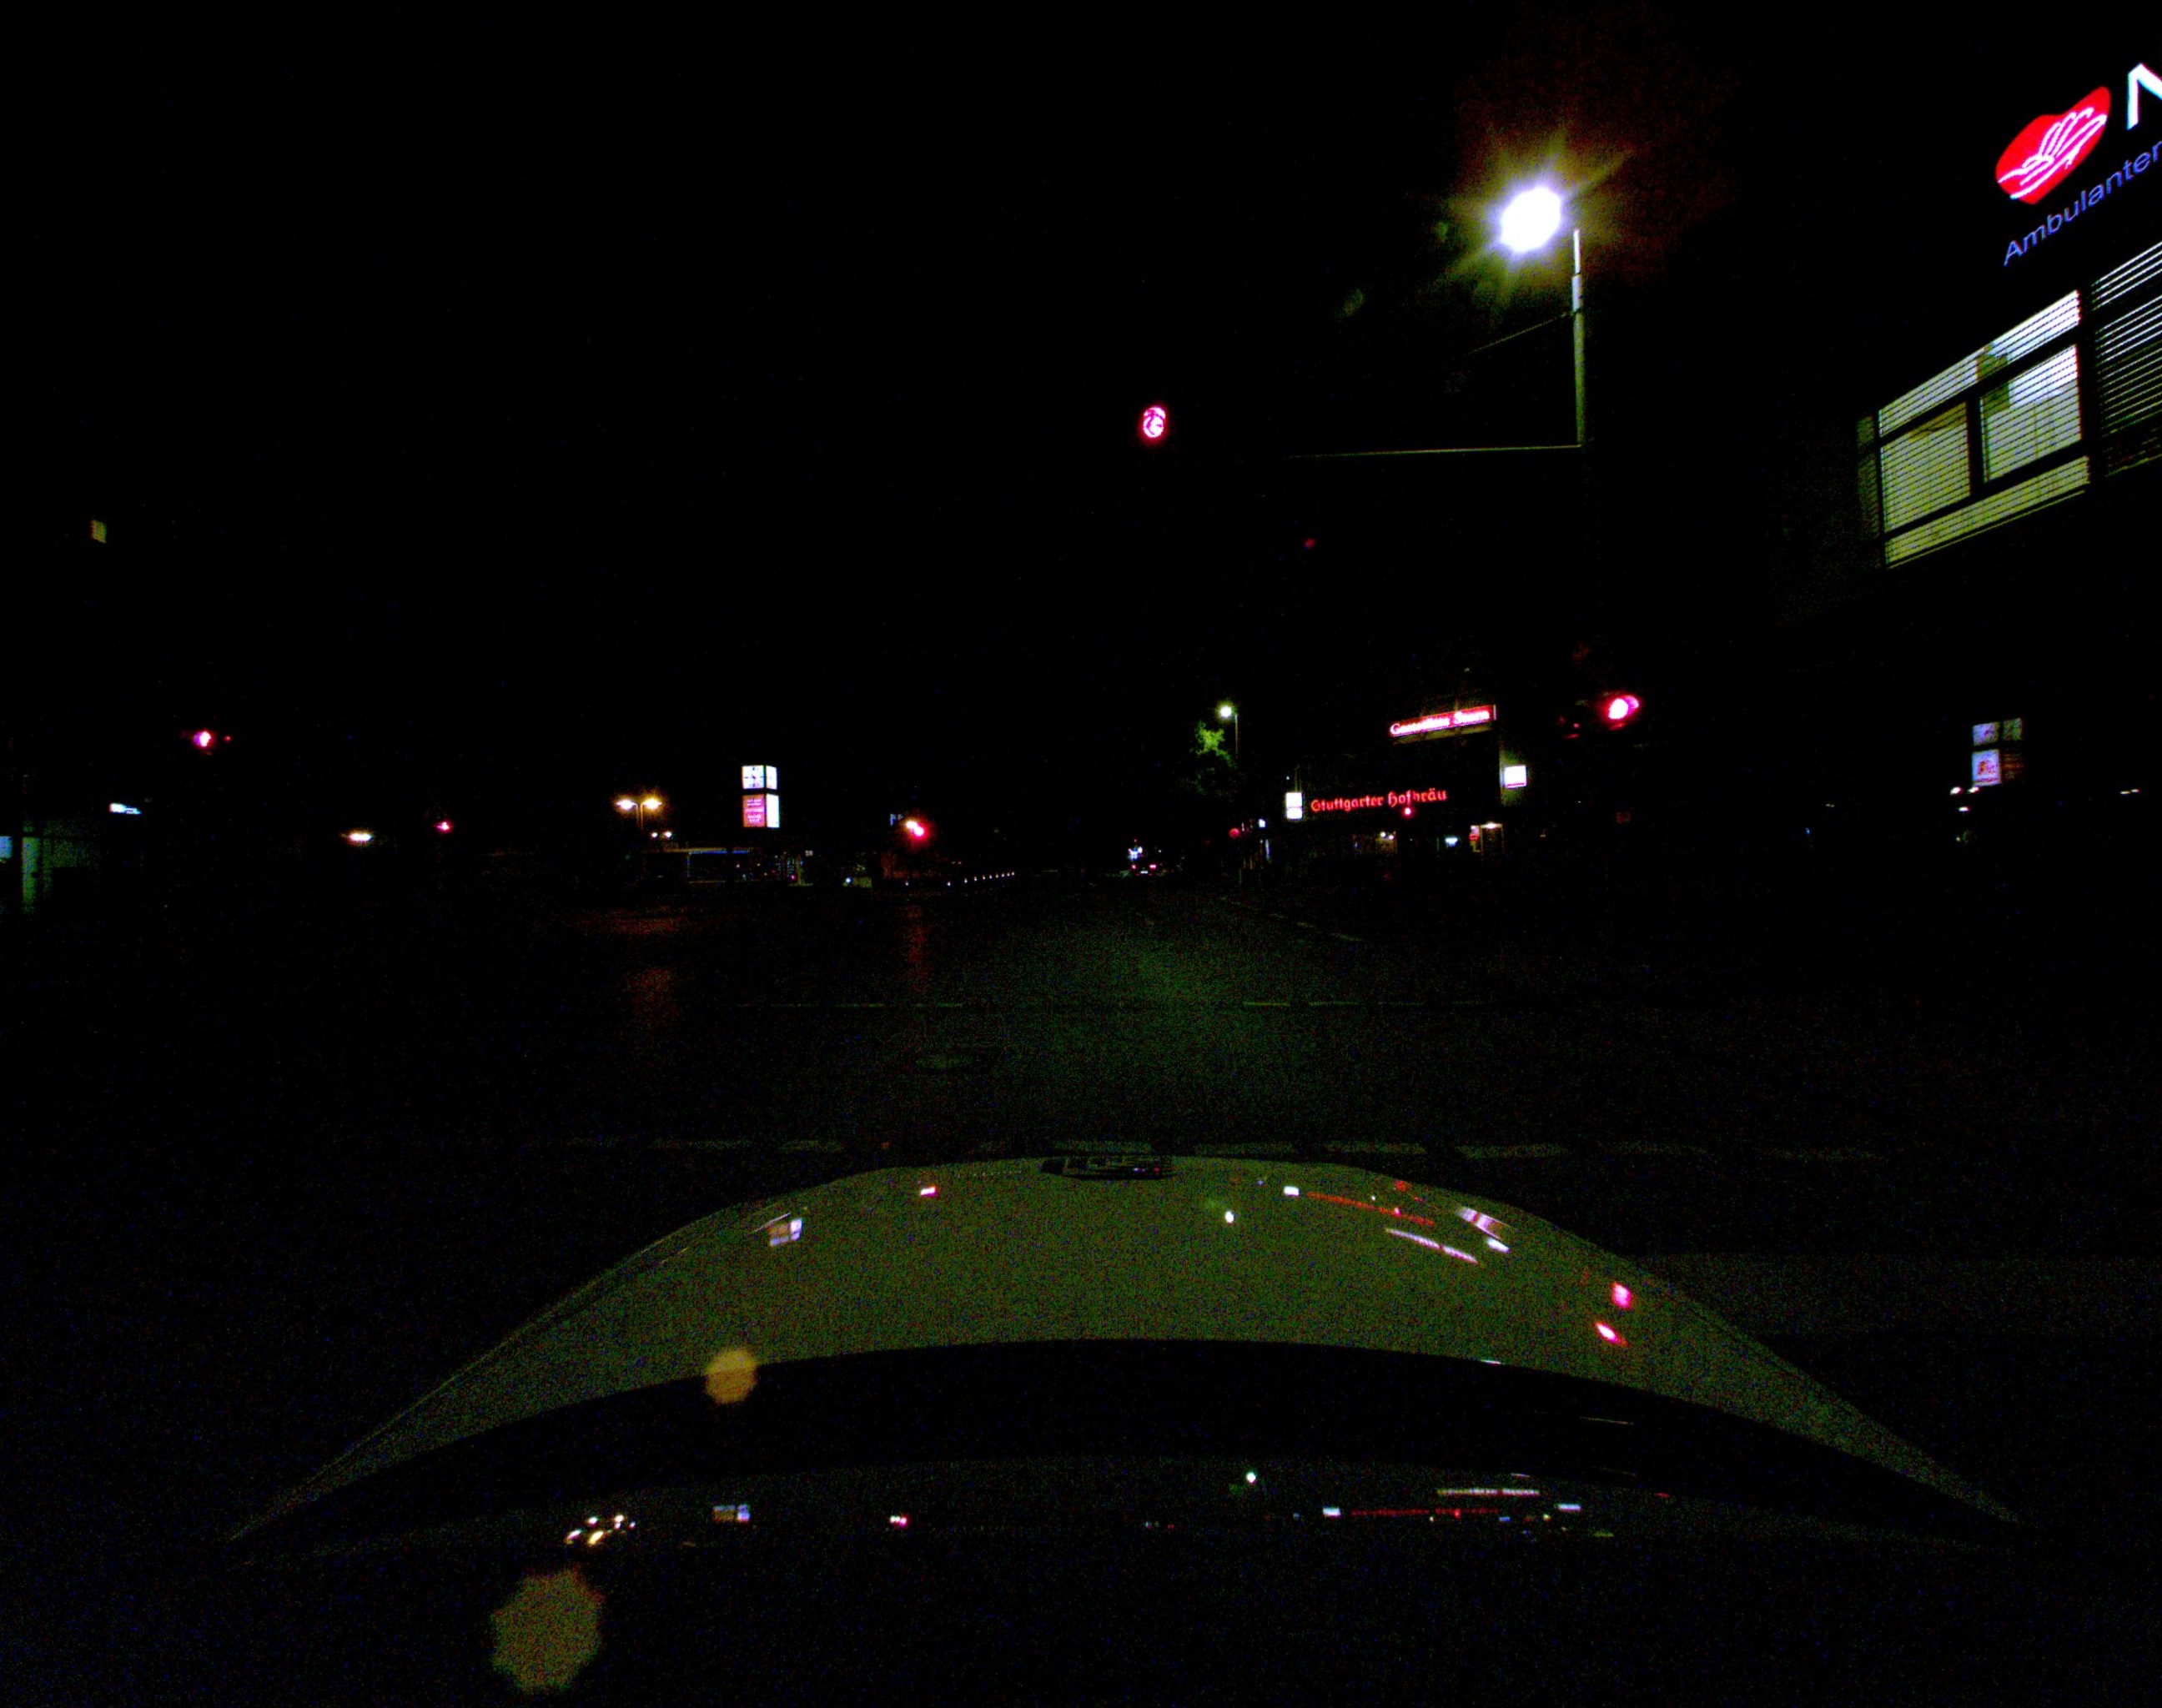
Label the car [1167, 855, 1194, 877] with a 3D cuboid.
[{"bbox_3d":[7.695,0.935,63.459,1.868,1.615,4.005,-2,-1,5],"label":"car"}]

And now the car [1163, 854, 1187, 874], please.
[{"bbox_3d":[7.882,0.833,68.767,1.868,1.615,4.005,-2,-1,5],"label":"car"}]

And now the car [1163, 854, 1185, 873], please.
[{"bbox_3d":[8.677,0.879,76.424,1.868,1.729,4.005,-2,-1,5],"label":"car"}]

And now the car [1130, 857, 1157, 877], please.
[{"bbox_3d":[4.735,0.933,61.020,1.864,1.454,4.324,0,-1,6],"label":"car"}]

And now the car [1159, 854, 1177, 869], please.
[{"bbox_3d":[10.045,0.901,94.442,1.868,1.683,4.005,-2,-1,5],"label":"car"}]
